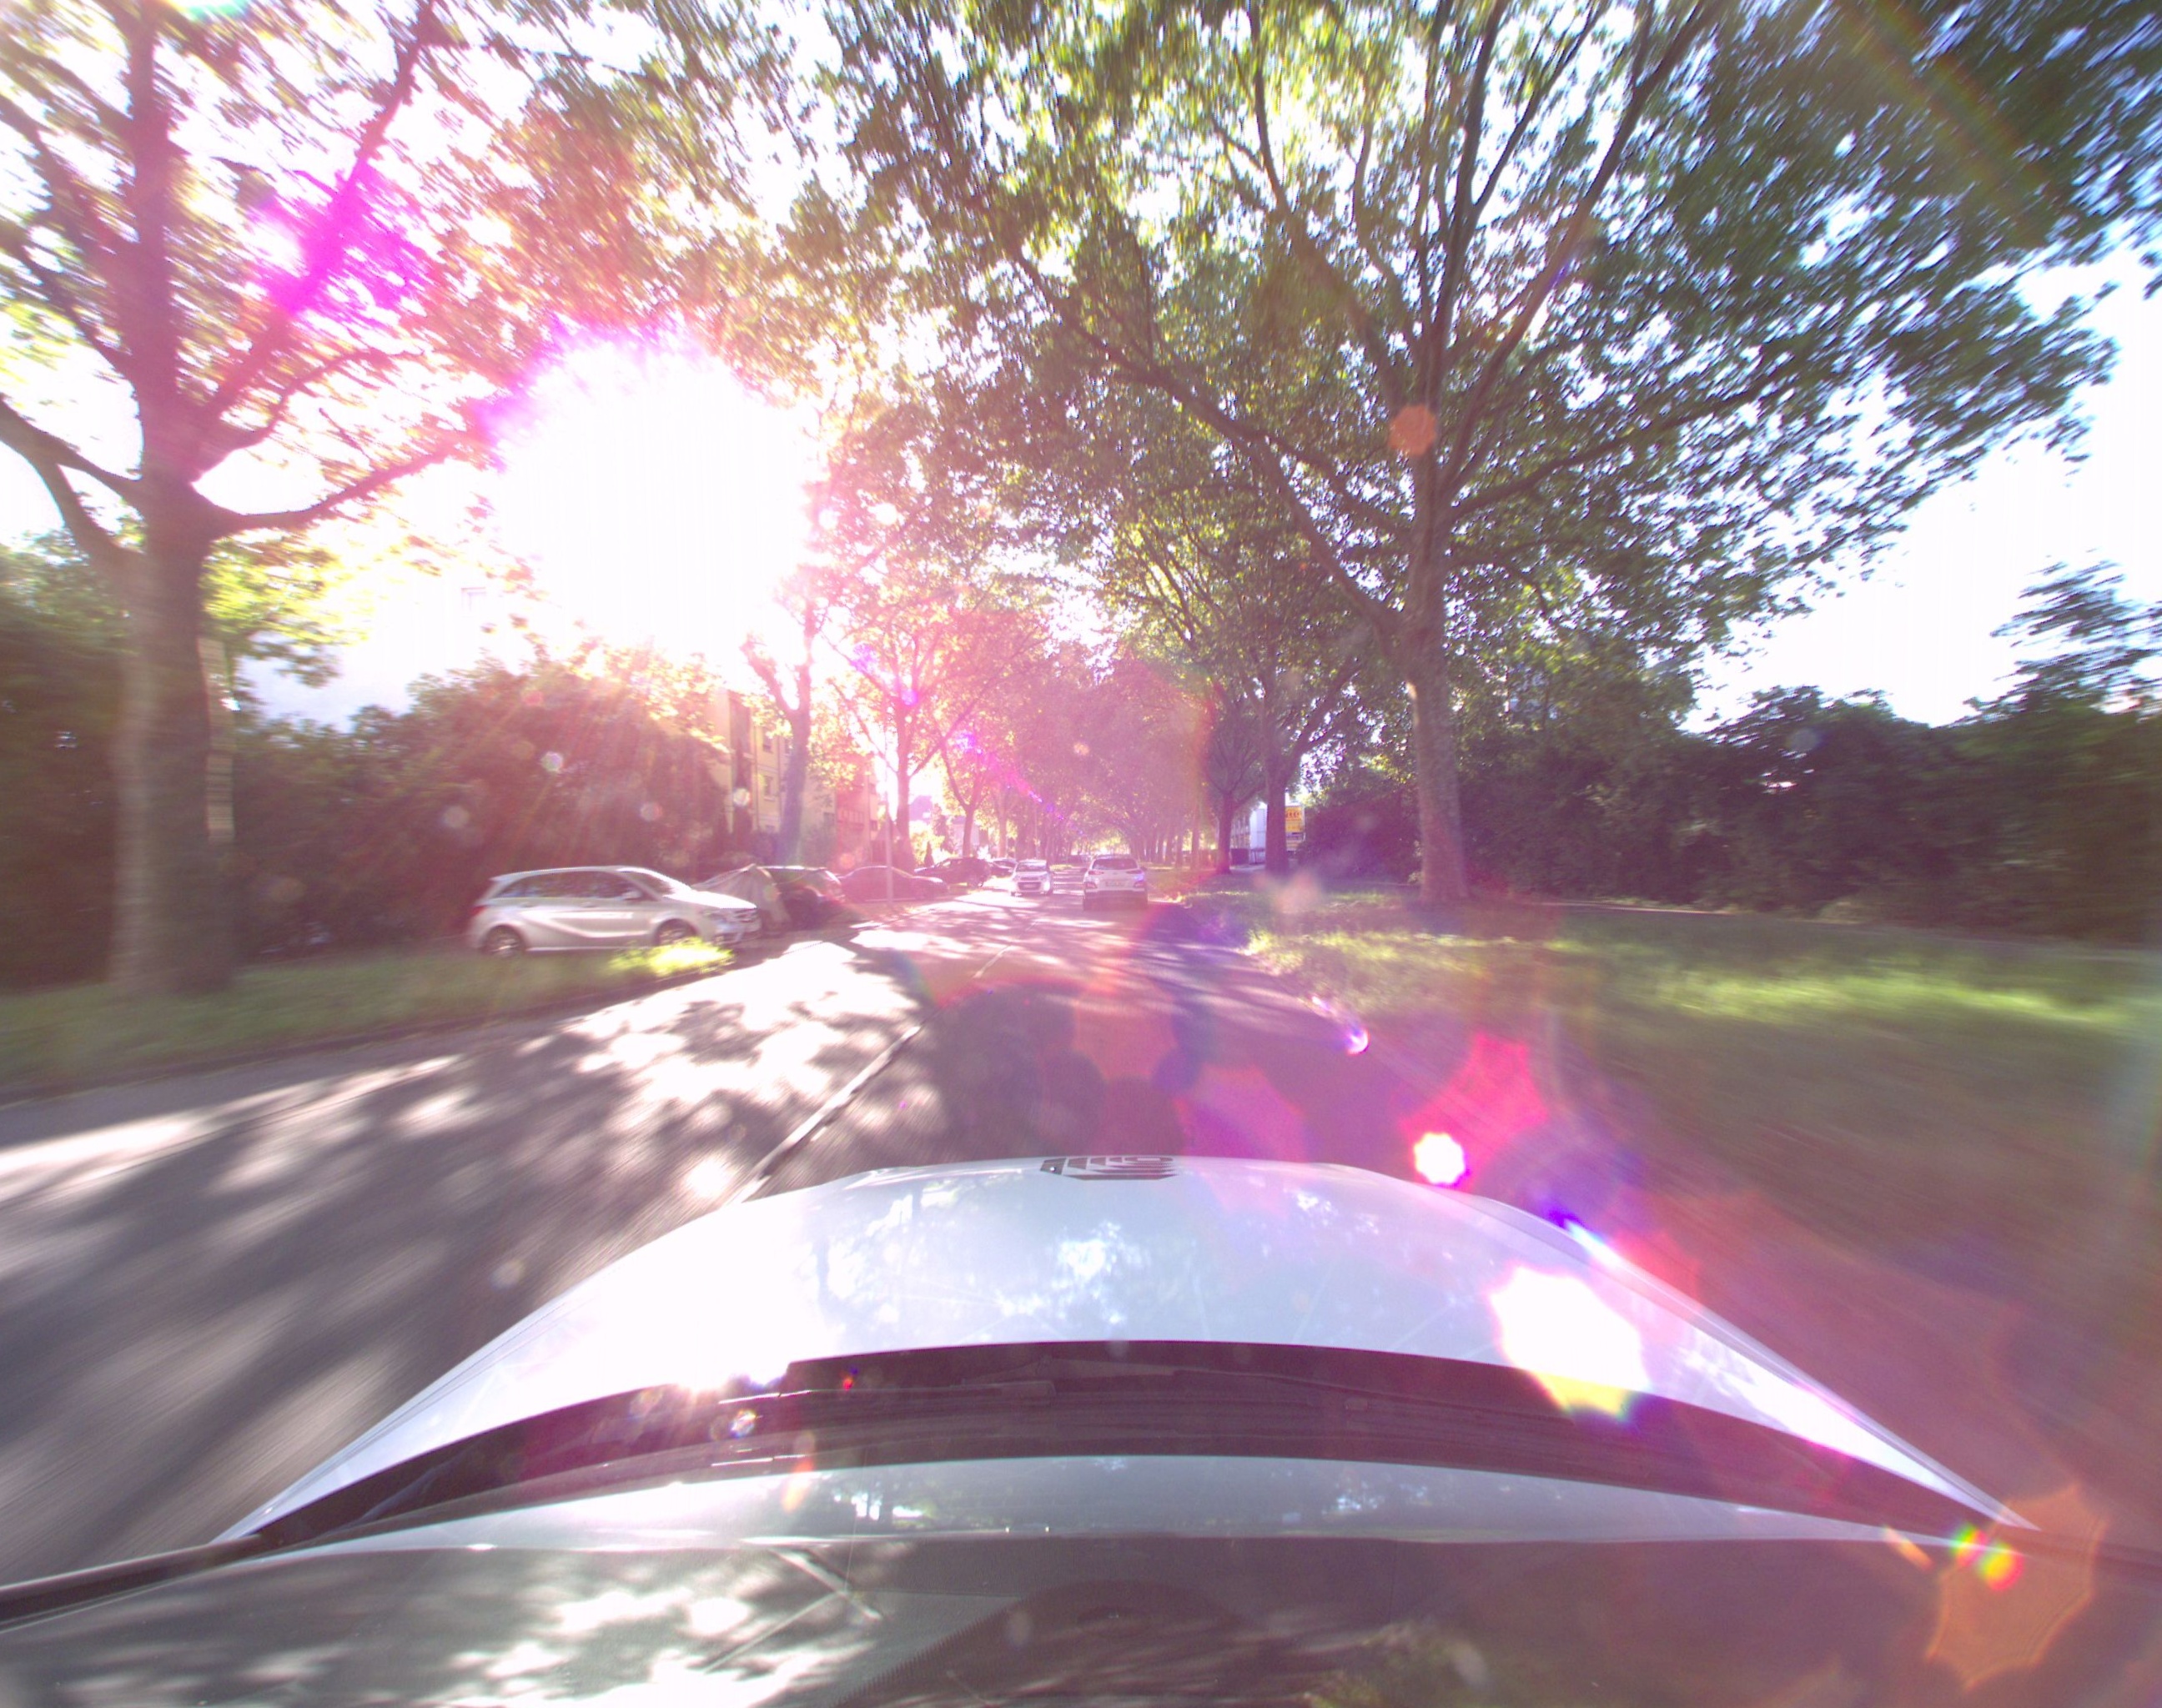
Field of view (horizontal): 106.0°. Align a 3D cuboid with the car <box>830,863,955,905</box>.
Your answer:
[{"bbox_3d":[-7.005,1.094,30.529,4.227,1.353,1.741,-2,-1,0],"label":"car"}]

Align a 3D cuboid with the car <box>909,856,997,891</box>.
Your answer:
[{"bbox_3d":[-6.663,0.998,42.684,4.228,1.680,1.671,-2,0,1],"label":"car"}]

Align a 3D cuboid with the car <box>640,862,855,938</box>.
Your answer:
[{"bbox_3d":[-7.571,1.023,18.802,4.150,1.506,1.800,-2,0,-2],"label":"car"}]

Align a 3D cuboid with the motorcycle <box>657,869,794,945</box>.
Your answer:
[{"bbox_3d":[-7.066,1.047,16.278,2.380,1.388,0.647,-2,-1,-4],"label":"motorcycle"}]

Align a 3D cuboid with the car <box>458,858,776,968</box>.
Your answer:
[{"bbox_3d":[-7.675,0.930,13.841,4.174,1.584,1.998,-2,0,-3],"label":"car"}]

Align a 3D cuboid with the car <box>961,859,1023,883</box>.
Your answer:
[{"bbox_3d":[-6.063,1.143,55.930,3.973,1.470,1.780,-2,0,0],"label":"car"}]

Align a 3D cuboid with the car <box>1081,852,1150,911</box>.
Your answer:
[{"bbox_3d":[1.001,0.767,24.112,1.828,1.556,4.001,-1,-1,2],"label":"car"}]

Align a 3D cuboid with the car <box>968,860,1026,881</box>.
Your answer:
[{"bbox_3d":[-5.988,1.175,58.320,3.977,1.424,1.807,-2,0,-3],"label":"car"}]

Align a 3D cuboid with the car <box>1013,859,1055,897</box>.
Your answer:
[{"bbox_3d":[-1.925,0.945,33.893,1.530,1.459,3.184,-2,0,0],"label":"car"}]

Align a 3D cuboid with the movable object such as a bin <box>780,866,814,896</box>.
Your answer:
[{"bbox_3d":[-13.433,1.279,38.571,1.181,1.350,0.954,-2,-1,2],"label":"movable object such as a bin"}]

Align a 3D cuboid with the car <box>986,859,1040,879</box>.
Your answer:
[{"bbox_3d":[-5.280,1.165,63.878,3.970,1.470,1.811,-2,0,3],"label":"car"}]

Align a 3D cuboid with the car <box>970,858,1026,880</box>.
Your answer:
[{"bbox_3d":[-6.201,1.115,61.177,3.973,1.520,1.809,-2,0,0],"label":"car"}]
